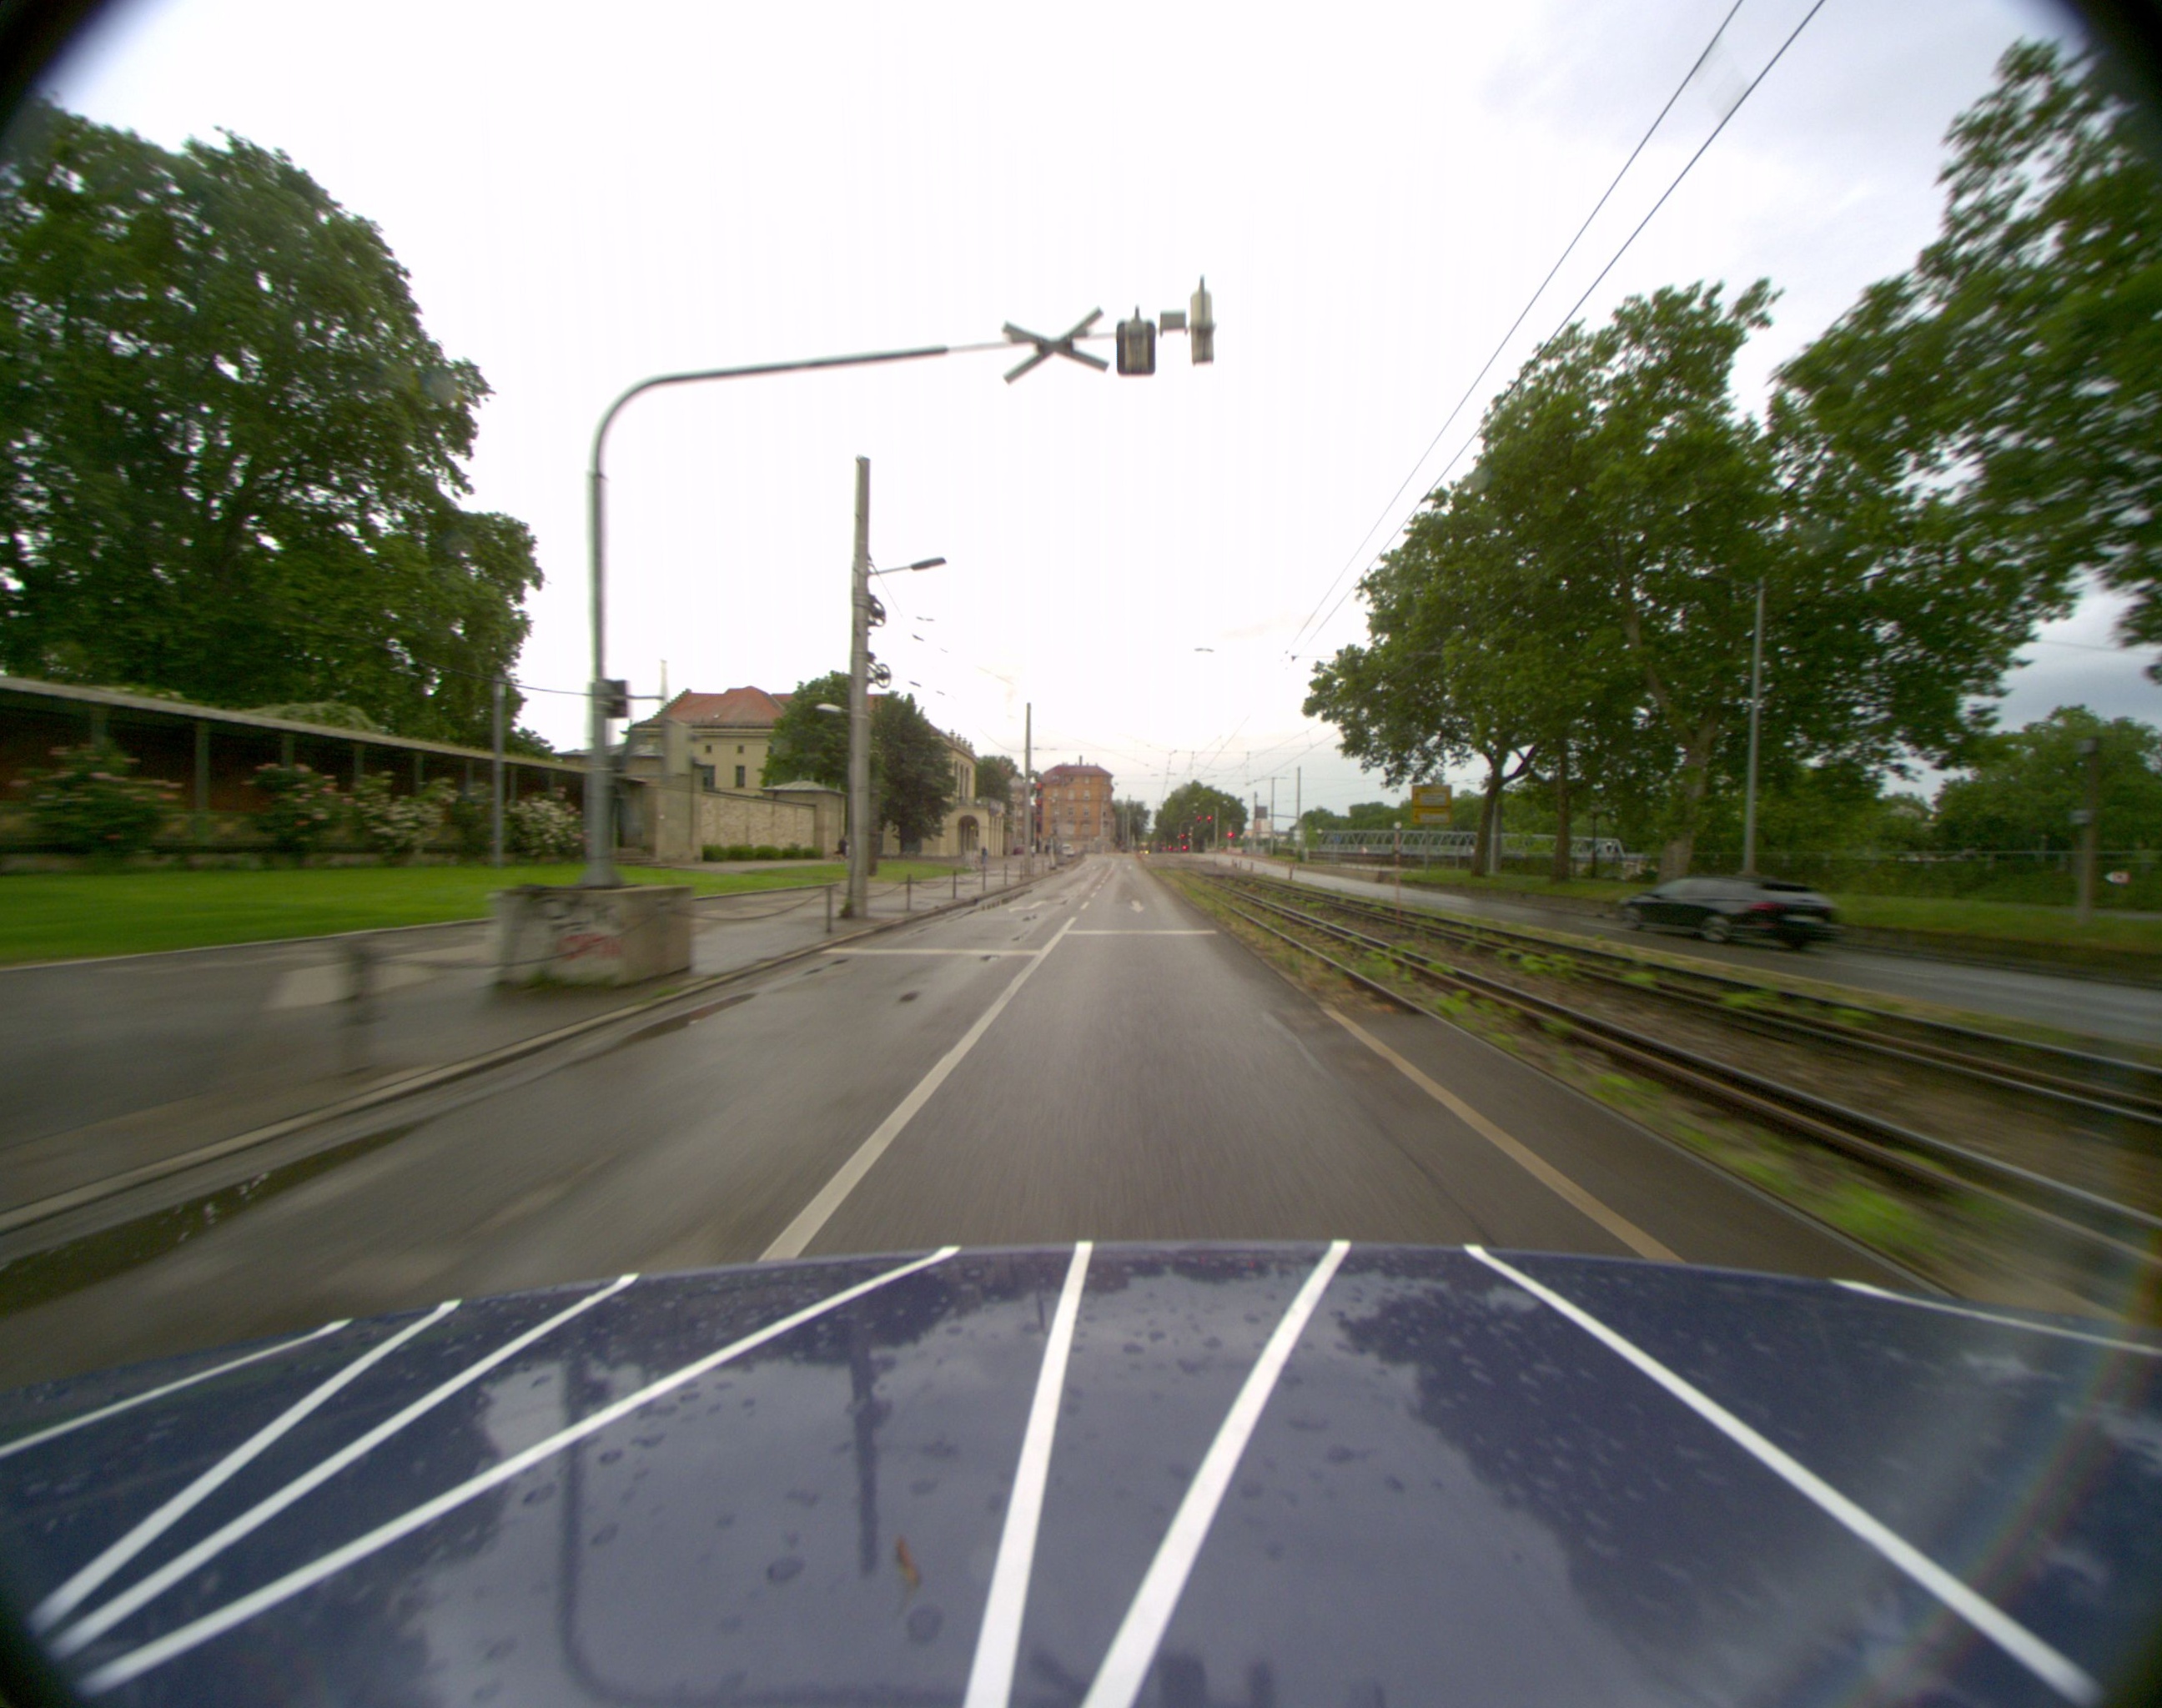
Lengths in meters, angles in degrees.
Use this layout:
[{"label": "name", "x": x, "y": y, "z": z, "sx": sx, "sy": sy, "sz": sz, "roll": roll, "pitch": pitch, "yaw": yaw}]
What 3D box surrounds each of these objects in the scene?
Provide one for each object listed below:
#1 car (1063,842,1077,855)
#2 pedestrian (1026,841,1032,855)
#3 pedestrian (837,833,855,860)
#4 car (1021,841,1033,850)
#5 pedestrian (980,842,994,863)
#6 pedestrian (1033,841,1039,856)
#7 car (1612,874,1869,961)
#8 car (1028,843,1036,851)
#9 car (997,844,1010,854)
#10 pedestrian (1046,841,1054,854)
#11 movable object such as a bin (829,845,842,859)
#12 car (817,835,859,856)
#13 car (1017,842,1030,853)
[{"label": "car", "x": -1.480, "y": -0.703, "z": 102.301, "sx": 1.843, "sy": 1.630, "sz": 4.141, "roll": -2, "pitch": 1, "yaw": -1}, {"label": "pedestrian", "x": -6.210, "y": -0.709, "z": 90.285, "sx": 0.628, "sy": 1.635, "sz": 0.780, "roll": 1, "pitch": 2, "yaw": -3}, {"label": "pedestrian", "x": -14.822, "y": -0.474, "z": 47.996, "sx": 0.730, "sy": 1.701, "sz": 0.981, "roll": 2, "pitch": 1, "yaw": 4}, {"label": "car", "x": -9.408, "y": -1.463, "z": 132.126, "sx": 1.831, "sy": 1.574, "sz": 3.998, "roll": 1, "pitch": 1, "yaw": -2}, {"label": "pedestrian", "x": -7.589, "y": -0.117, "z": 61.461, "sx": 0.863, "sy": 1.581, "sz": 0.670, "roll": 3, "pitch": 1, "yaw": 30}, {"label": "pedestrian", "x": -5.293, "y": -0.647, "z": 90.082, "sx": 0.595, "sy": 1.726, "sz": 0.839, "roll": 1, "pitch": 2, "yaw": 1}, {"label": "car", "x": 14.073, "y": 1.260, "z": 16.667, "sx": 1.750, "sy": 1.421, "sz": 4.561, "roll": 2, "pitch": 1, "yaw": 3}, {"label": "car", "x": -11.102, "y": -1.623, "z": 172.980, "sx": 1.831, "sy": 1.574, "sz": 3.998, "roll": 1, "pitch": 1, "yaw": -2}, {"label": "car", "x": -12.354, "y": -0.778, "z": 121.487, "sx": 1.864, "sy": 1.539, "sz": 4.064, "roll": 0, "pitch": 1, "yaw": -3}, {"label": "pedestrian", "x": -4.301, "y": -0.846, "z": 105.547, "sx": 0.783, "sy": 1.797, "sz": 0.696, "roll": -2, "pitch": 2, "yaw": -37}, {"label": "movable object such as a bin", "x": -15.528, "y": -0.107, "z": 48.014, "sx": 0.343, "sy": 0.867, "sz": 1.192, "roll": 2, "pitch": 1, "yaw": 4}, {"label": "car", "x": -18.329, "y": -0.626, "z": 57.520, "sx": 1.841, "sy": 1.446, "sz": 3.599, "roll": 2, "pitch": -1, "yaw": 3}, {"label": "car", "x": -9.147, "y": -1.047, "z": 121.260, "sx": 1.831, "sy": 1.574, "sz": 3.998, "roll": 1, "pitch": 1, "yaw": -2}]
